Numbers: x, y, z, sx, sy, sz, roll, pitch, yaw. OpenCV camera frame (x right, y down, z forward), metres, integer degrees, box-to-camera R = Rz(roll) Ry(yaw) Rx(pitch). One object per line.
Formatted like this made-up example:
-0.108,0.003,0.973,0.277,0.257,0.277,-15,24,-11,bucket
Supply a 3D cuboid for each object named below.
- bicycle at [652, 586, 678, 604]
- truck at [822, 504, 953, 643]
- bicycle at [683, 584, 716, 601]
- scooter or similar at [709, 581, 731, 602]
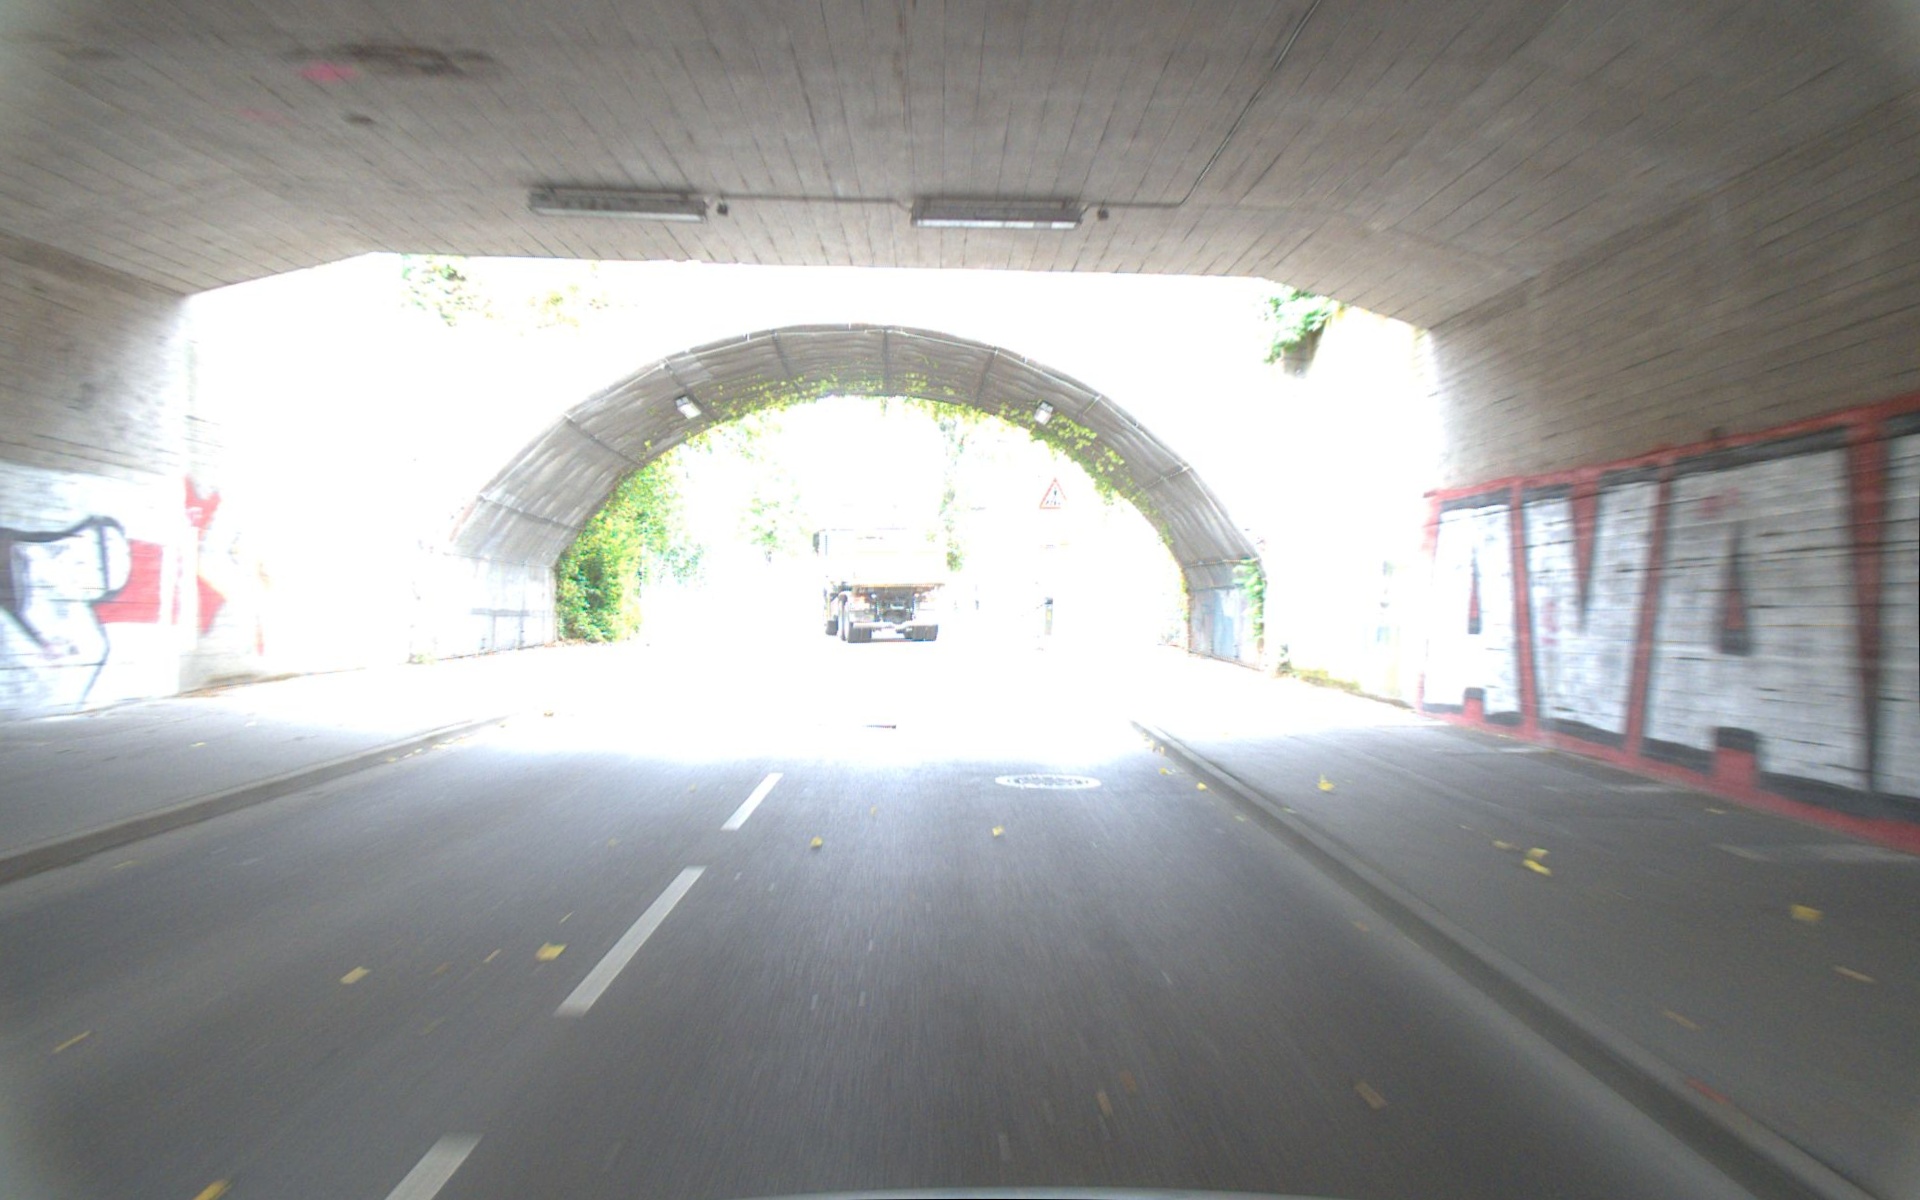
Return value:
-18.360,-0.301,102.919,1.467,1.007,0.689,4,-1,-23,bicycle
-2.180,-0.827,46.232,2.714,3.544,8.112,0,2,-9,truck
-16.157,-0.476,102.644,1.954,0.880,0.503,7,-3,-41,bicycle
-14.801,-0.523,102.020,1.178,1.227,0.462,5,-2,-37,scooter or similar
